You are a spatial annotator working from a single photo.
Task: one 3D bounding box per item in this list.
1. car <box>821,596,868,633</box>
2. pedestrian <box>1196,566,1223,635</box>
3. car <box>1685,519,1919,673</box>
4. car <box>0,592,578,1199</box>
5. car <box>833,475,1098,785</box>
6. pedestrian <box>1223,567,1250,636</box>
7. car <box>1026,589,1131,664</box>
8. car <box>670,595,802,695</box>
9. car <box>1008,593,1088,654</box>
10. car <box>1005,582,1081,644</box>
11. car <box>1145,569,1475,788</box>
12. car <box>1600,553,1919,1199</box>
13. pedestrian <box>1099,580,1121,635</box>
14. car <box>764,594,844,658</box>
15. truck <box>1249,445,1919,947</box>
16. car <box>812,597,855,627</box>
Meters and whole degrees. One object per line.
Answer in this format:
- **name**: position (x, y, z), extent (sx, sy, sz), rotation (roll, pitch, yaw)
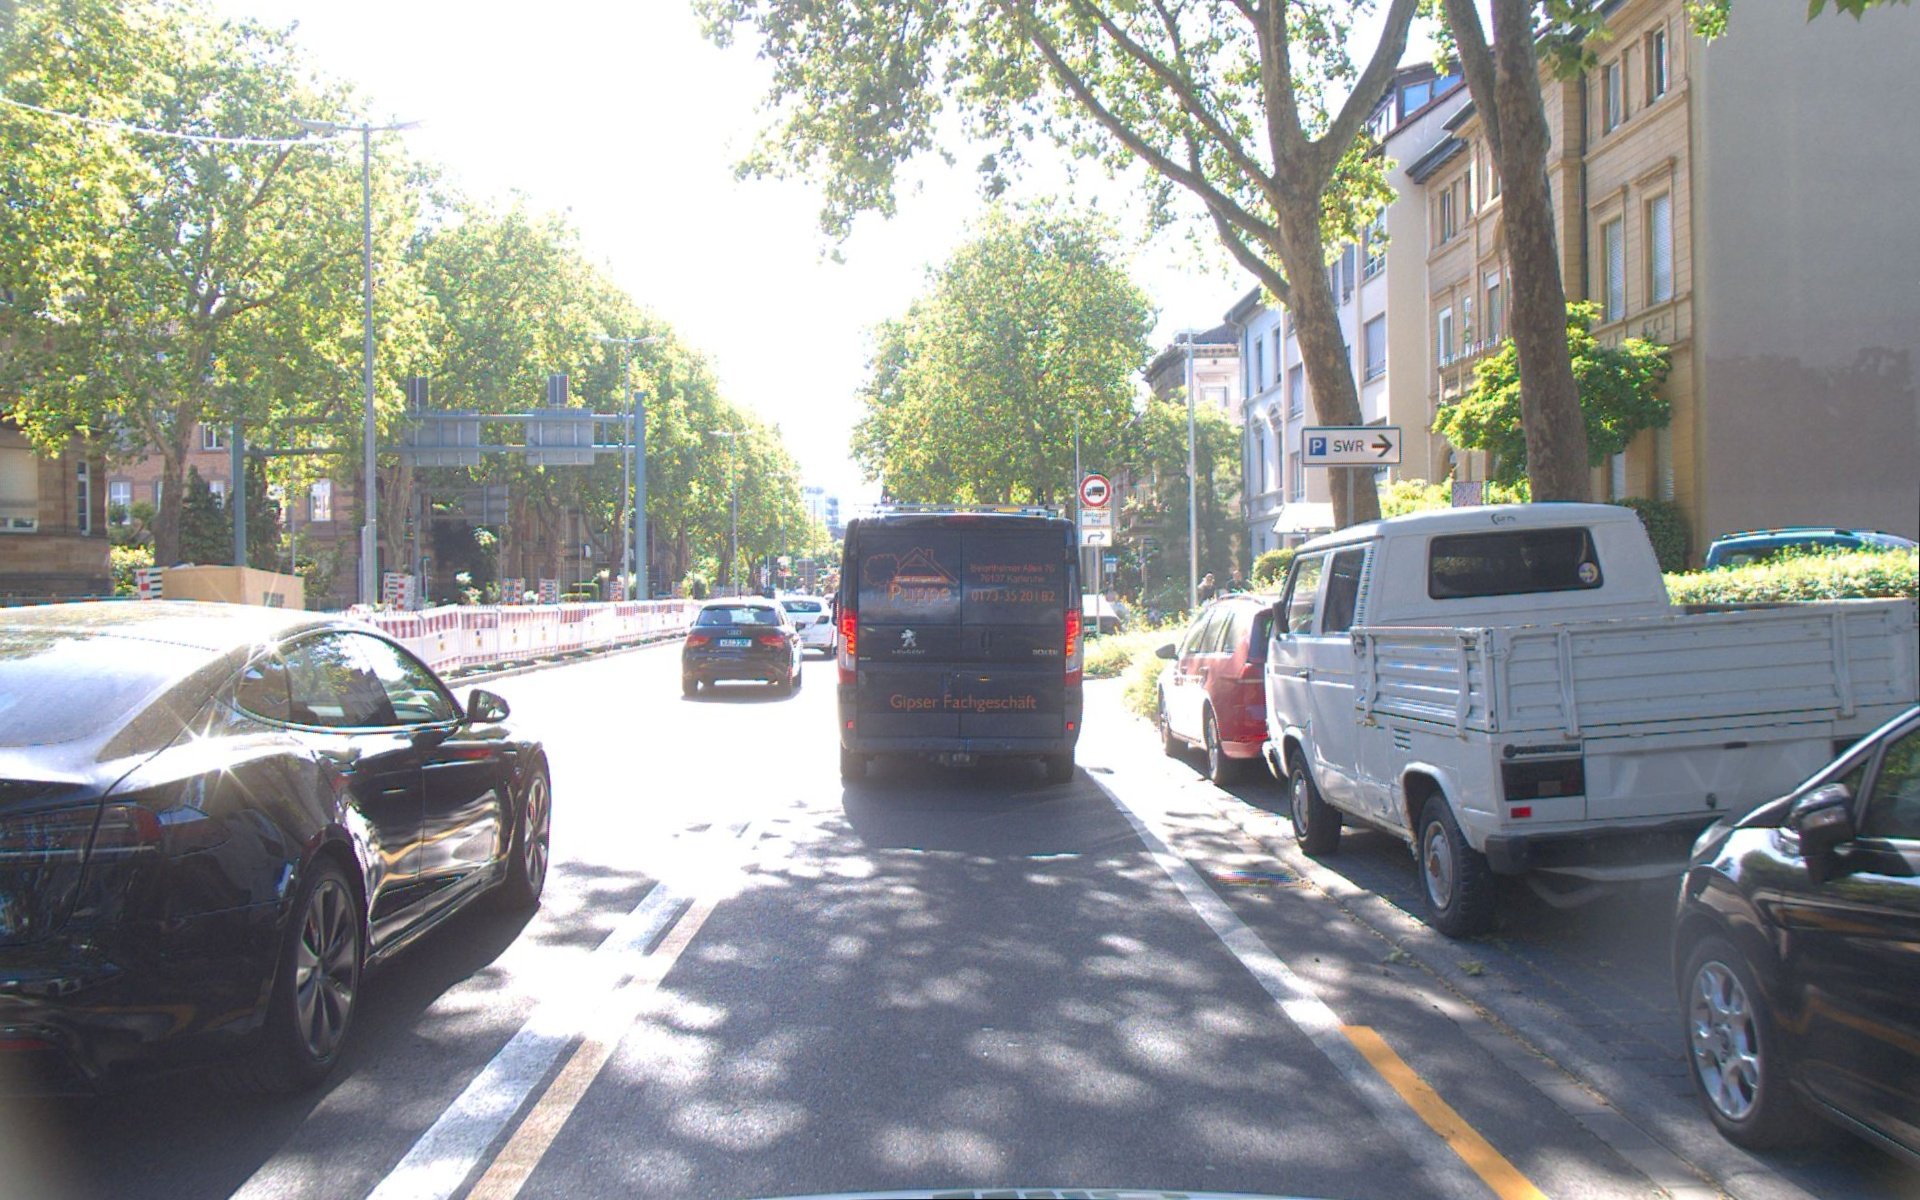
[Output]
- **car**: position (-3.940, 0.487, 56.873), extent (1.392, 1.246, 3.437), rotation (-1, 0, 0)
- **pedestrian**: position (6.590, 0.009, 43.662), extent (0.661, 1.786, 0.876), rotation (-1, 0, 8)
- **car**: position (11.651, -0.060, 21.845), extent (1.689, 1.886, 3.466), rotation (1, 0, -34)
- **car**: position (-2.847, 0.706, 6.098), extent (1.886, 1.436, 4.624), rotation (1, 0, -1)
- **car**: position (-0.032, 0.212, 14.815), extent (2.053, 2.396, 3.931), rotation (0, 1, -2)
- **pedestrian**: position (7.230, 0.033, 43.314), extent (0.640, 1.786, 1.014), rotation (-1, 0, 8)
- **car**: position (2.452, 0.530, 35.196), extent (1.807, 1.467, 4.486), rotation (-1, 0, -1)
- **car**: position (-3.444, 0.657, 26.043), extent (1.711, 1.432, 3.997), rotation (1, 0, -3)
- **car**: position (2.155, 0.561, 41.359), extent (1.806, 1.433, 3.800), rotation (-1, 0, 0)
- **car**: position (2.366, 0.363, 48.153), extent (1.808, 1.672, 3.798), rotation (-2, 0, -3)
- **car**: position (2.801, 0.572, 14.338), extent (1.784, 1.534, 4.676), rotation (-1, 0, -1)
- **car**: position (2.980, 0.629, 3.430), extent (1.712, 1.503, 4.101), rotation (-1, 0, 0)
- **pedestrian**: position (5.715, 0.281, 63.023), extent (0.781, 2.049, 1.168), rotation (-1, 0, 3)
- **car**: position (-3.704, 0.600, 39.770), extent (1.516, 1.450, 3.555), rotation (-1, 0, 1)
- **truck**: position (2.920, 0.372, 8.695), extent (1.839, 1.914, 4.452), rotation (-1, 0, -2)
- **car**: position (-6.687, 0.619, 87.782), extent (1.953, 1.495, 4.000), rotation (1, 1, -1)
